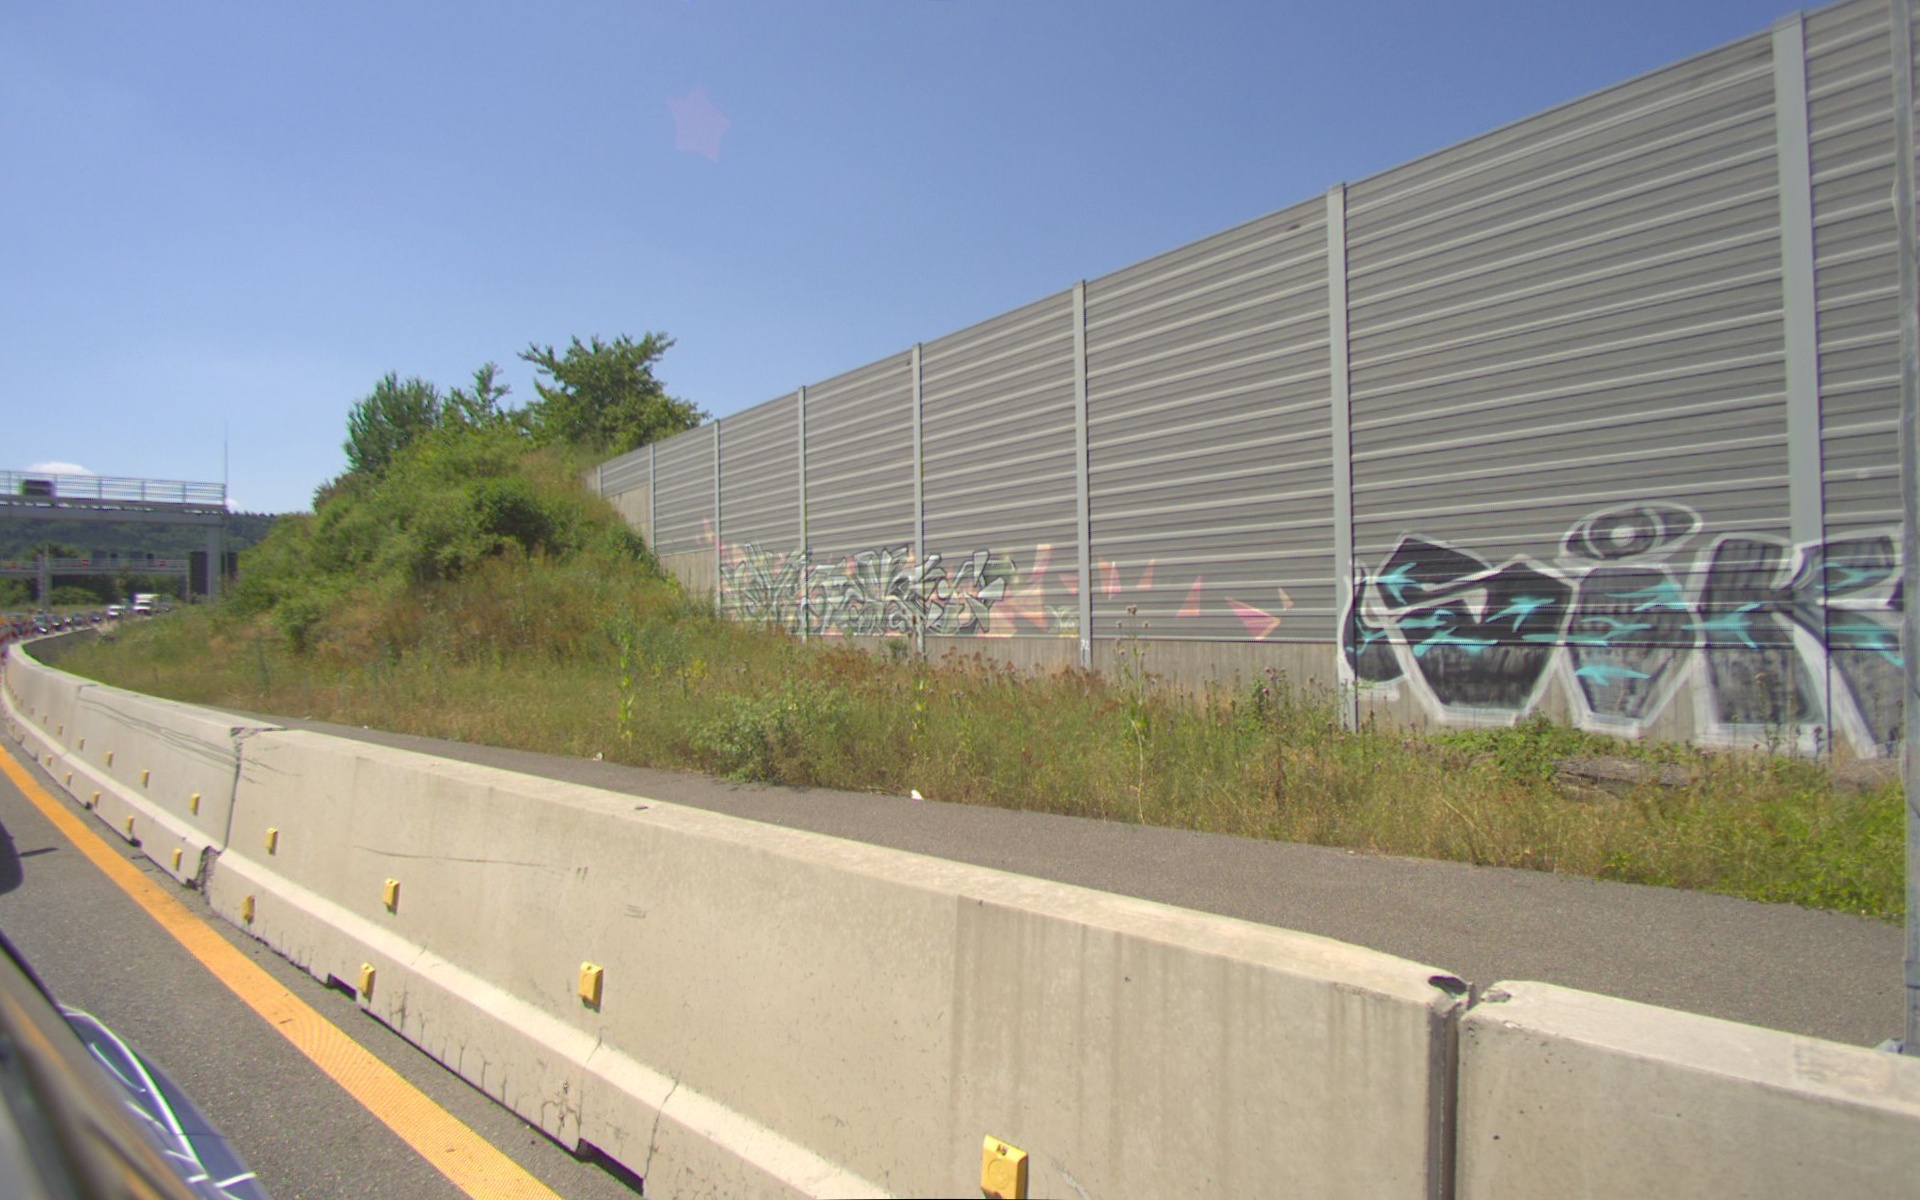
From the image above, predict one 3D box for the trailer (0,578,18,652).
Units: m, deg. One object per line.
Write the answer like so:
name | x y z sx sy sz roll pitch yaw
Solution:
trailer | -48.757 0.745 49.049 3.187 3.695 17.454 -2 0 -39
